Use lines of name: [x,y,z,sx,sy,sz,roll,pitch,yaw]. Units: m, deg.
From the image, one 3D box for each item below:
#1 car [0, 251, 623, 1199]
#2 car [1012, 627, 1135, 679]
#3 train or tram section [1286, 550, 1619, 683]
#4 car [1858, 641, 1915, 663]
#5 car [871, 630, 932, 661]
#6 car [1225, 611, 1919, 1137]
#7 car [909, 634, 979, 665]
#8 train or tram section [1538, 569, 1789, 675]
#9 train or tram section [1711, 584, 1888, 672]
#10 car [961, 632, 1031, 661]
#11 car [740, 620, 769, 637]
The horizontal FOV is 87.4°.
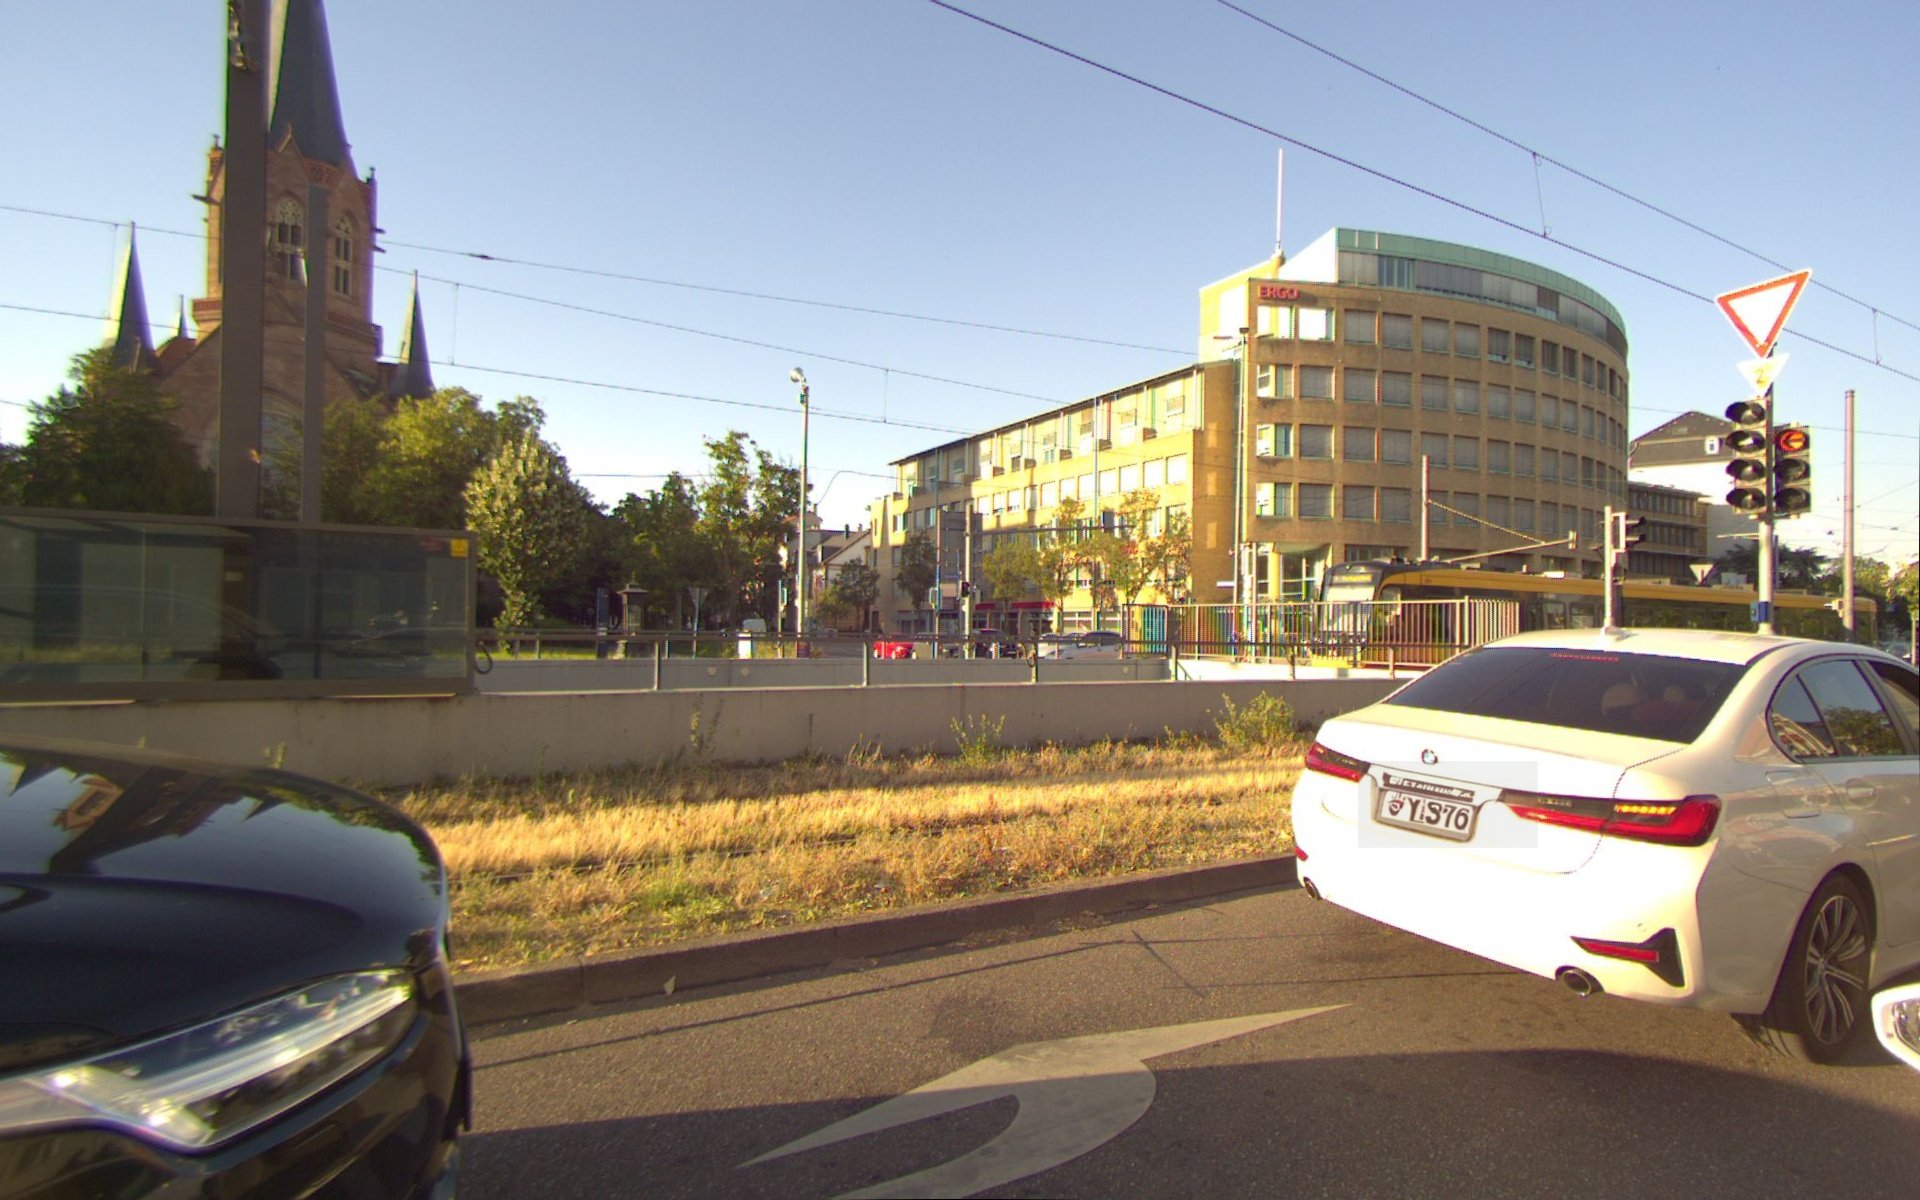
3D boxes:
car: [-2.952,0.484,0.751,4.797,1.735,1.940,2,1,-32]
car: [3.654,1.687,32.215,3.629,1.561,1.703,2,-1,-30]
train or tram section: [15.905,0.626,31.706,13.098,3.583,2.759,2,-1,-31]
car: [58.413,3.248,63.342,3.695,1.298,1.638,1,-1,-30]
car: [-3.265,2.479,55.481,1.804,1.606,3.969,1,-2,-30]
car: [3.596,0.844,4.775,4.530,1.419,1.829,2,1,-30]
car: [-0.853,2.461,50.763,1.880,1.439,3.969,2,-2,-29]
train or tram section: [27.226,0.916,38.482,13.098,3.583,2.759,2,-1,-31]
train or tram section: [37.342,1.278,44.510,10.448,3.583,2.759,2,-1,-31]
car: [1.851,2.403,52.387,1.880,1.439,3.969,2,-2,-29]
car: [-25.648,3.575,125.411,2.207,2.040,4.565,1,-2,-30]
